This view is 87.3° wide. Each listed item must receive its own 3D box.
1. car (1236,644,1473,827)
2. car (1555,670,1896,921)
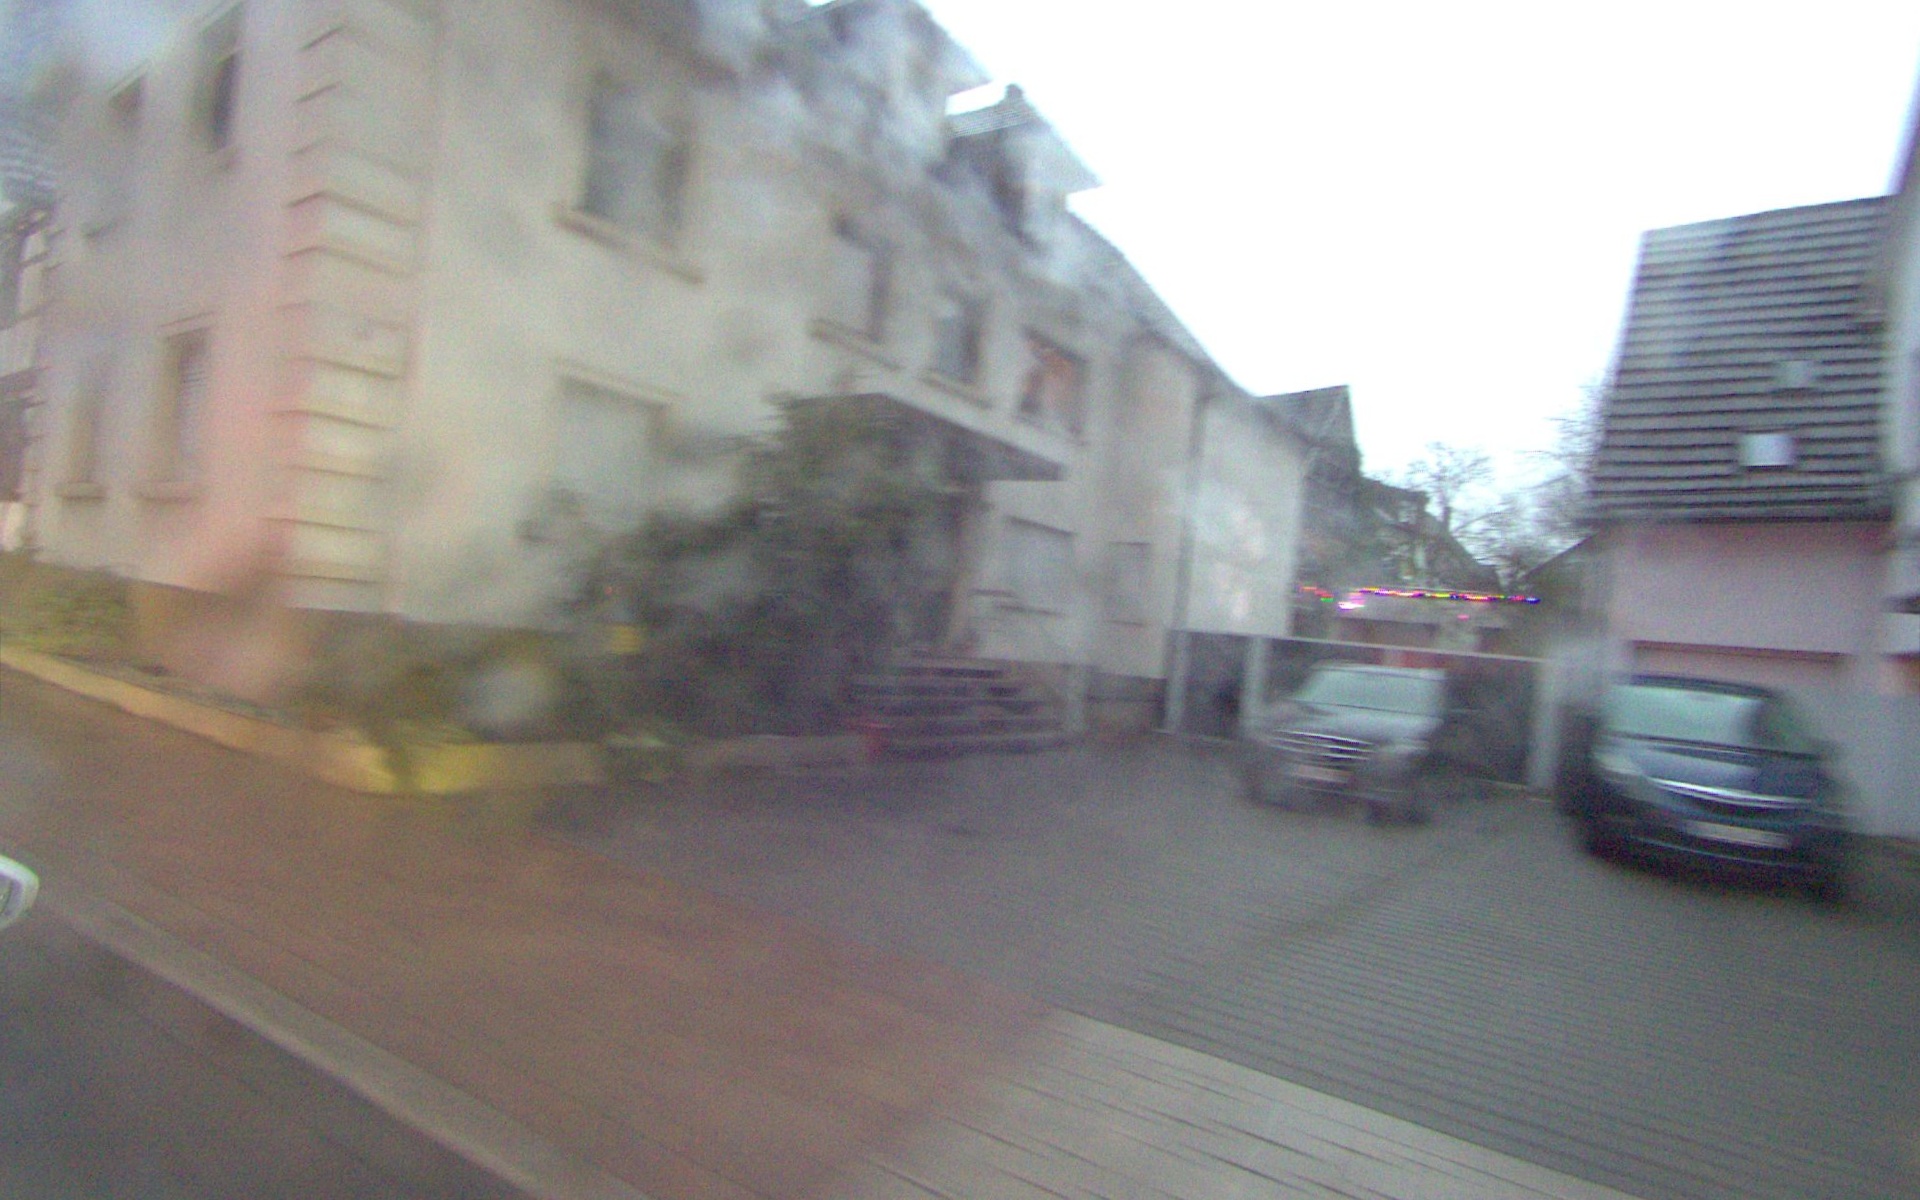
[{"bbox_3d":[4.569,1.394,11.309,1.838,1.485,3.800,6,-1,30],"label":"car"},{"bbox_3d":[6.685,1.549,9.273,1.715,1.548,3.995,7,0,28],"label":"car"}]
